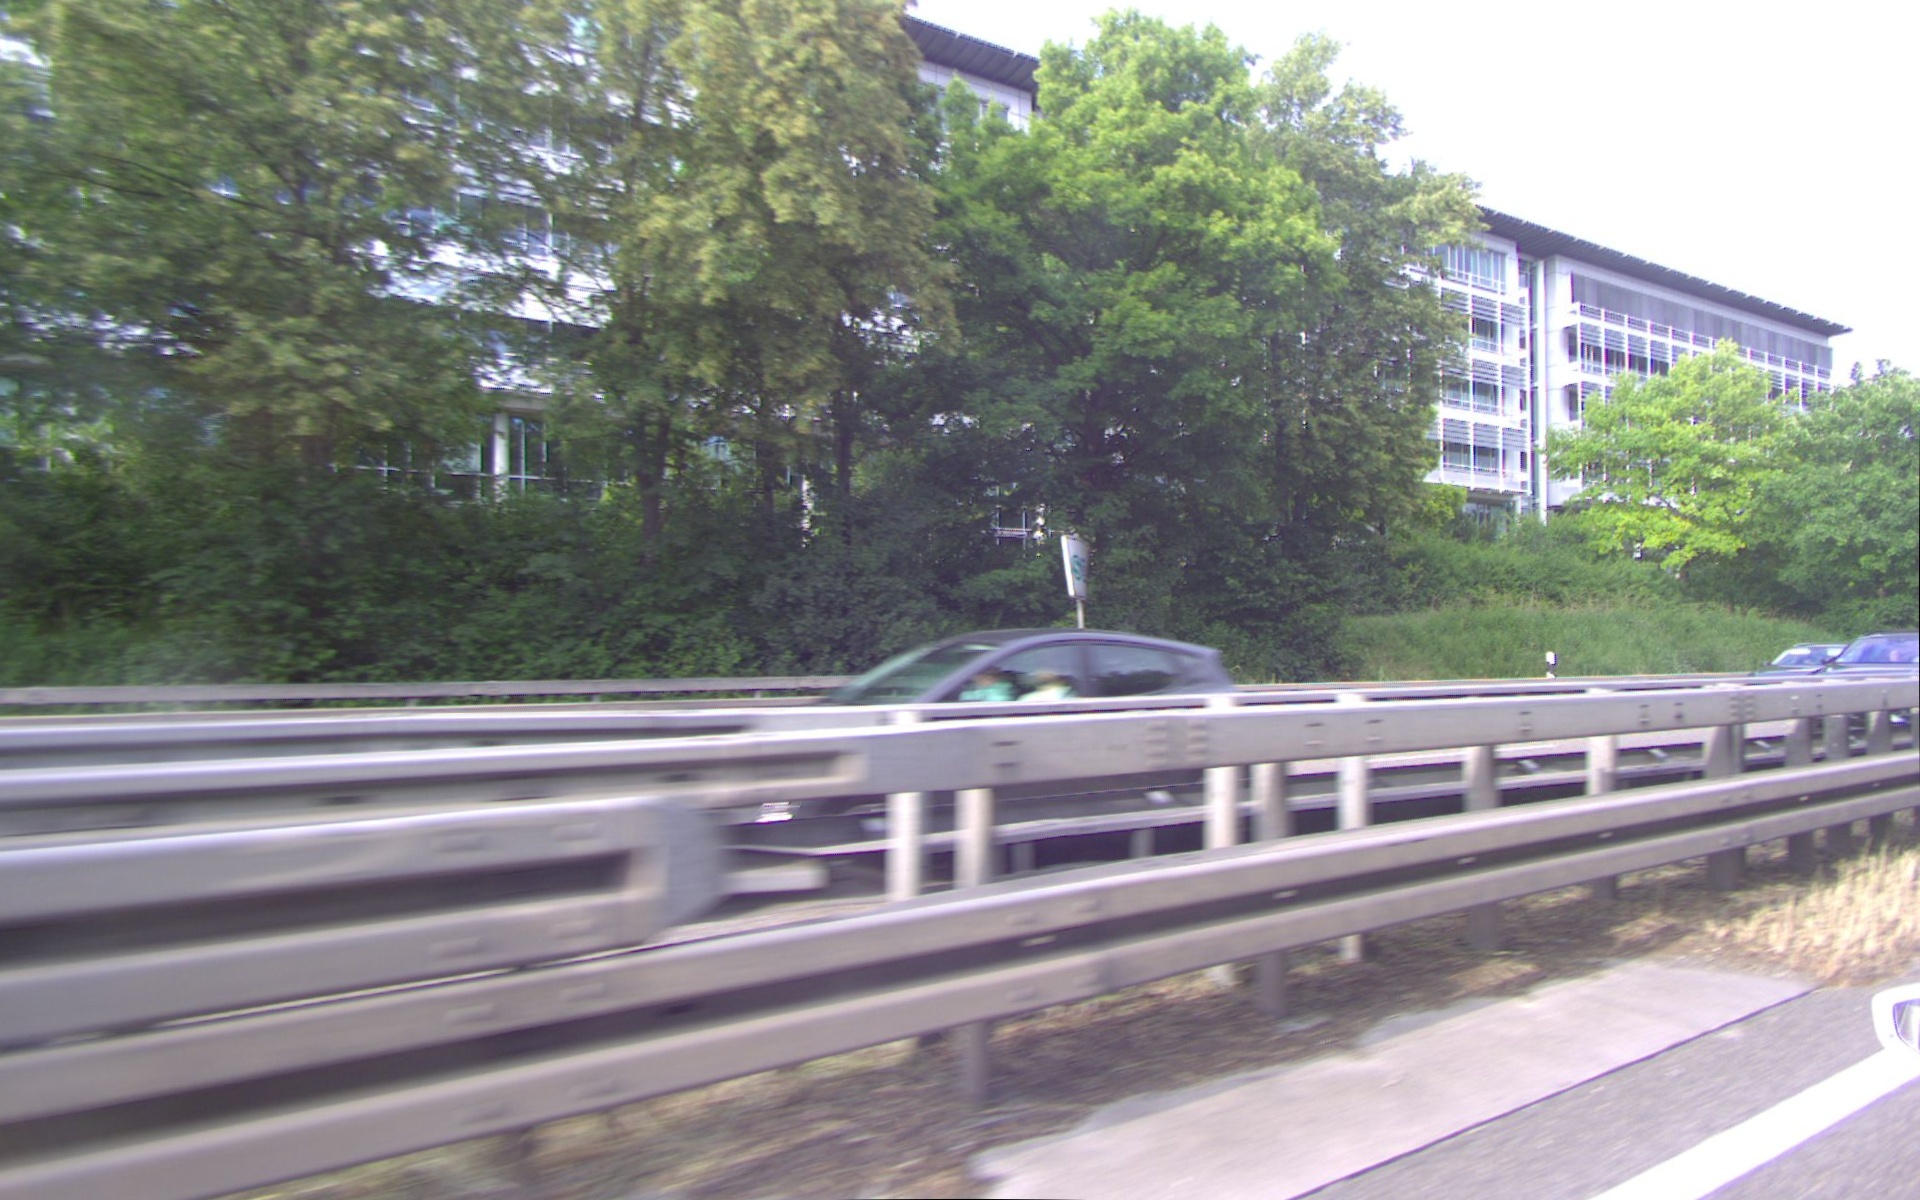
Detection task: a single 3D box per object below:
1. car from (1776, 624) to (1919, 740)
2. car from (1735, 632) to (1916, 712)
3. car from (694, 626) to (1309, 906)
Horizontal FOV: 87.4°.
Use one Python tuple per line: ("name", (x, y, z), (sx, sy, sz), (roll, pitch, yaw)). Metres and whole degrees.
("car", (14.800, 1.196, 15.663), (4.264, 1.605, 1.813), (1, -2, -30))
("car", (19.089, 1.522, 22.114), (4.261, 1.610, 1.735), (2, -2, -30))
("car", (0.352, 0.872, 6.646), (3.787, 1.370, 1.668), (1, -2, -30))
